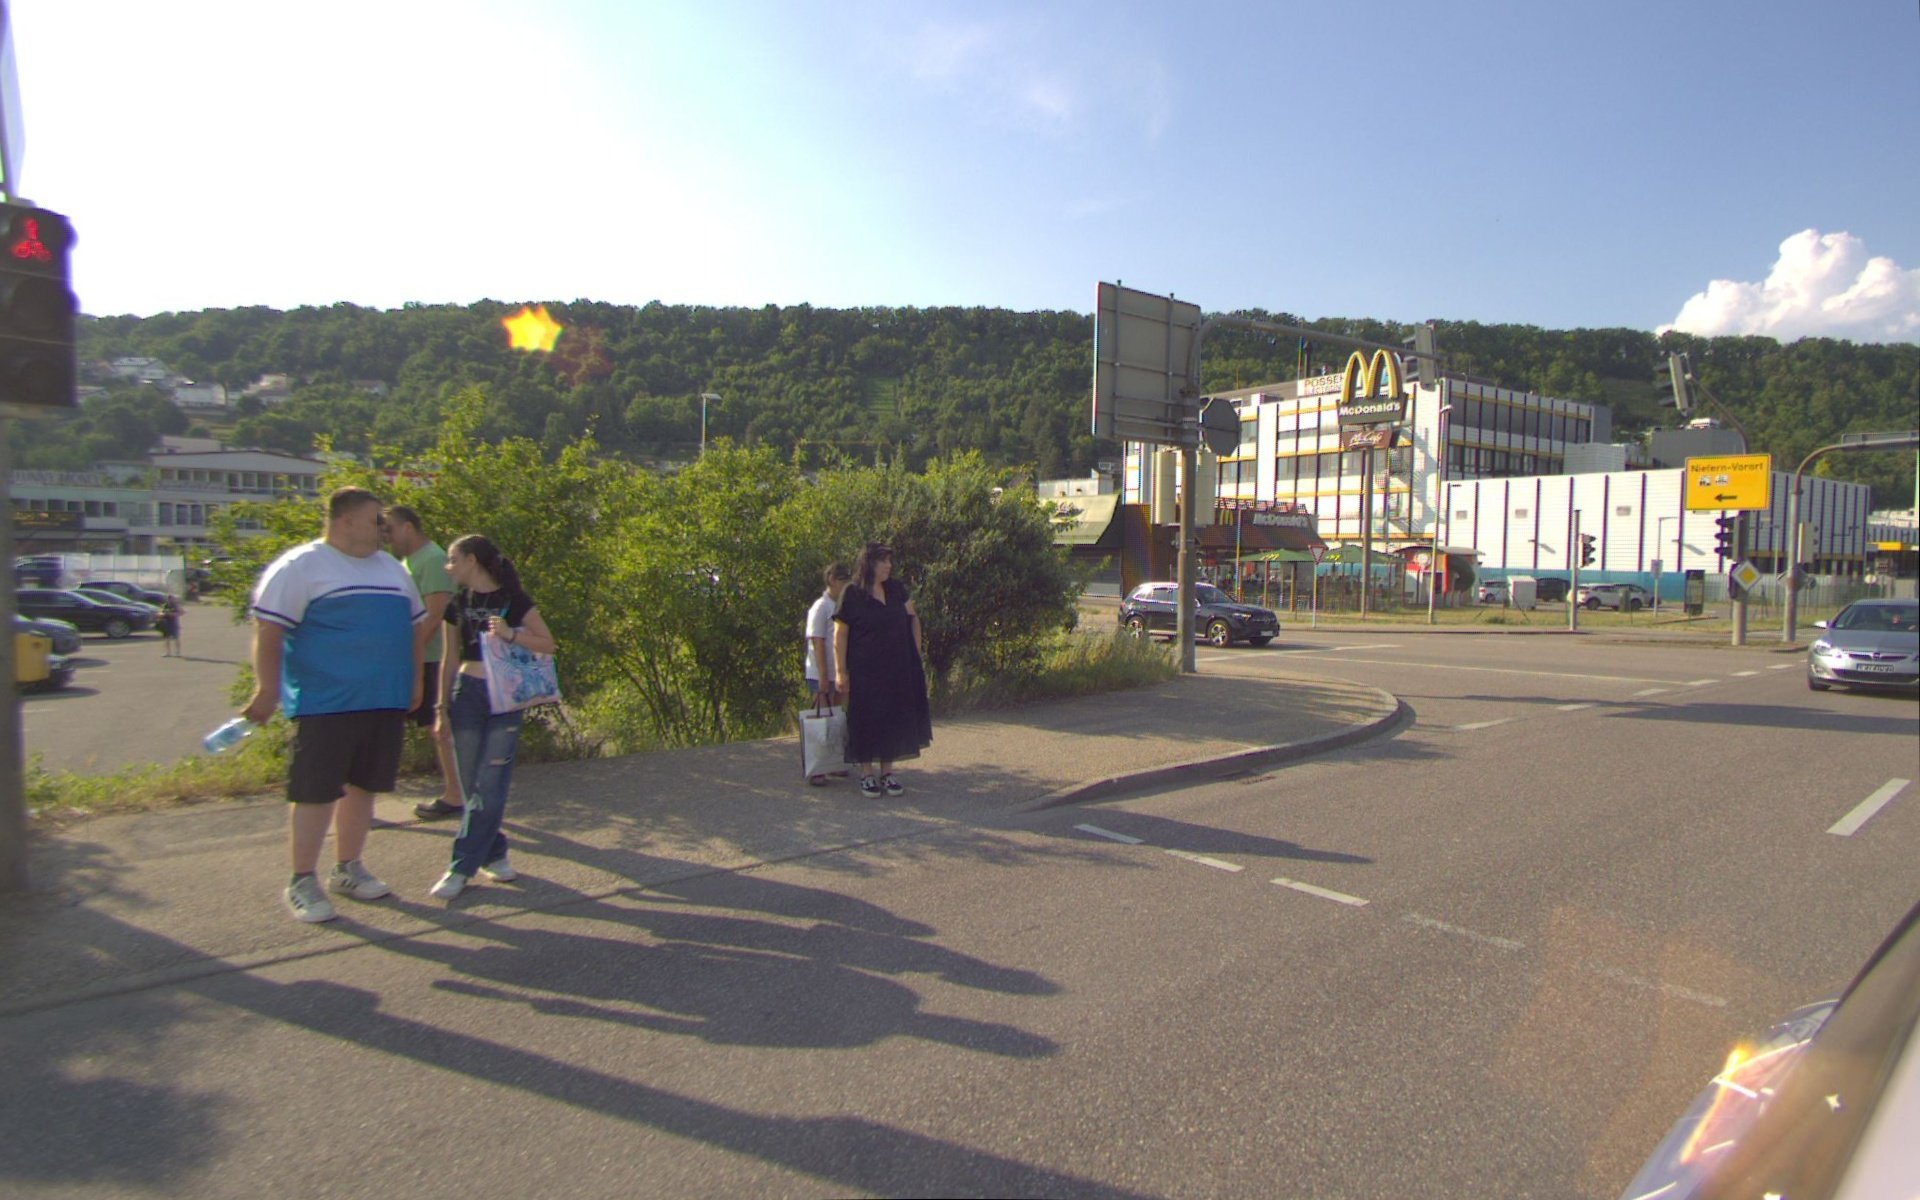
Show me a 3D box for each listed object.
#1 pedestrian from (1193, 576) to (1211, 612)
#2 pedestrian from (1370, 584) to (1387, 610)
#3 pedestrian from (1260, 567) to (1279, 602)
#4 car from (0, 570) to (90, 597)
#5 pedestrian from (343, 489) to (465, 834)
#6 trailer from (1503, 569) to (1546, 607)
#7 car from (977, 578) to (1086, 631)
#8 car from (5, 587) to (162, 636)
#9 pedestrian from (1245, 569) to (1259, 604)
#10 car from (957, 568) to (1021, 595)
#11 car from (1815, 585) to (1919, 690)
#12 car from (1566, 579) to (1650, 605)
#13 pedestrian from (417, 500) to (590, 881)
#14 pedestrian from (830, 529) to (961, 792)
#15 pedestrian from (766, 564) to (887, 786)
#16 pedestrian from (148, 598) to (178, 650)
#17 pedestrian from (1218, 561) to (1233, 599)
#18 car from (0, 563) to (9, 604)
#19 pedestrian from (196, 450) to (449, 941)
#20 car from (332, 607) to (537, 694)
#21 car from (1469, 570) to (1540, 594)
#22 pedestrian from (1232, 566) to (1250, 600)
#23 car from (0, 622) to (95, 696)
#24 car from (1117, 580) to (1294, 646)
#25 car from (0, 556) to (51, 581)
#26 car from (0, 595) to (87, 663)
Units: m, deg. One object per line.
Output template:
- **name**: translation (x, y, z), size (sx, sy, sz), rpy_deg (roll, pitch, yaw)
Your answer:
- **pedestrian**: translation (13.594, -0.335, 56.867), size (0.758, 2.039, 0.727), rpy_deg (0, 1, 34)
- **pedestrian**: translation (22.025, -0.169, 53.236), size (0.587, 1.353, 0.672), rpy_deg (-1, 1, -43)
- **pedestrian**: translation (18.017, -0.901, 58.901), size (0.749, 2.039, 0.736), rpy_deg (-1, 1, -35)
- **car**: translation (-56.946, -1.040, 62.963), size (4.265, 1.582, 1.836), rpy_deg (-1, 4, -41)
- **pedestrian**: translation (-3.043, 0.297, 5.537), size (0.527, 1.770, 0.533), rpy_deg (-1, 5, -35)
- **trailer**: translation (31.082, -0.661, 55.808), size (1.331, 1.971, 3.460), rpy_deg (3, 2, 18)
- **car**: translation (2.268, 0.093, 33.243), size (1.660, 1.616, 4.005), rpy_deg (-1, 1, -29)
- **car**: translation (-29.747, 0.331, 34.496), size (3.930, 1.527, 1.728), rpy_deg (-2, 1, -40)
- **pedestrian**: translation (17.087, -0.793, 59.283), size (0.726, 2.039, 0.758), rpy_deg (0, 1, 20)
- **car**: translation (1.731, -1.166, 61.847), size (1.827, 1.475, 3.999), rpy_deg (-2, 4, -38)
- **car**: translation (14.857, 0.518, 15.736), size (3.814, 1.408, 1.690), rpy_deg (-2, 3, -39)
- **car**: translation (38.271, -0.490, 59.815), size (3.830, 1.523, 1.879), rpy_deg (-1, 1, -4)
- **pedestrian**: translation (-2.225, 0.381, 4.917), size (0.622, 1.703, 0.596), rpy_deg (-1, 5, -41)
- **pedestrian**: translation (-0.429, 0.361, 6.720), size (0.612, 1.634, 0.572), rpy_deg (-1, 4, -44)
- **pedestrian**: translation (-0.940, 0.488, 7.128), size (0.612, 1.475, 0.572), rpy_deg (-1, 1, -44)
- **pedestrian**: translation (-23.274, 0.690, 29.557), size (0.556, 1.477, 0.381), rpy_deg (-1, 1, -14)
- **pedestrian**: translation (14.529, -1.102, 55.348), size (0.726, 2.039, 0.758), rpy_deg (0, 1, 20)
- **car**: translation (-43.783, -0.699, 43.802), size (3.691, 1.771, 1.802), rpy_deg (-1, 1, -39)
- **pedestrian**: translation (-2.777, 0.351, 4.425), size (0.846, 1.906, 0.620), rpy_deg (-1, 3, -41)
- **car**: translation (-12.632, 1.137, 24.465), size (4.062, 1.723, 1.834), rpy_deg (-2, 4, -44)
- **car**: translation (34.731, -1.129, 64.594), size (3.699, 1.473, 1.700), rpy_deg (-1, 1, -7)
- **pedestrian**: translation (16.717, -1.022, 60.207), size (0.749, 2.039, 0.736), rpy_deg (-1, 1, -35)
- **car**: translation (-21.407, 1.303, 21.685), size (4.266, 1.390, 1.999), rpy_deg (-2, 3, -39)
- **car**: translation (6.512, 0.271, 27.296), size (1.963, 1.605, 4.469), rpy_deg (-1, 1, -36)
- **car**: translation (-62.027, -2.060, 65.831), size (4.265, 1.582, 1.836), rpy_deg (-1, 4, -41)
- **car**: translation (-26.461, 0.779, 27.183), size (4.259, 1.750, 2.001), rpy_deg (-1, 1, -32)
